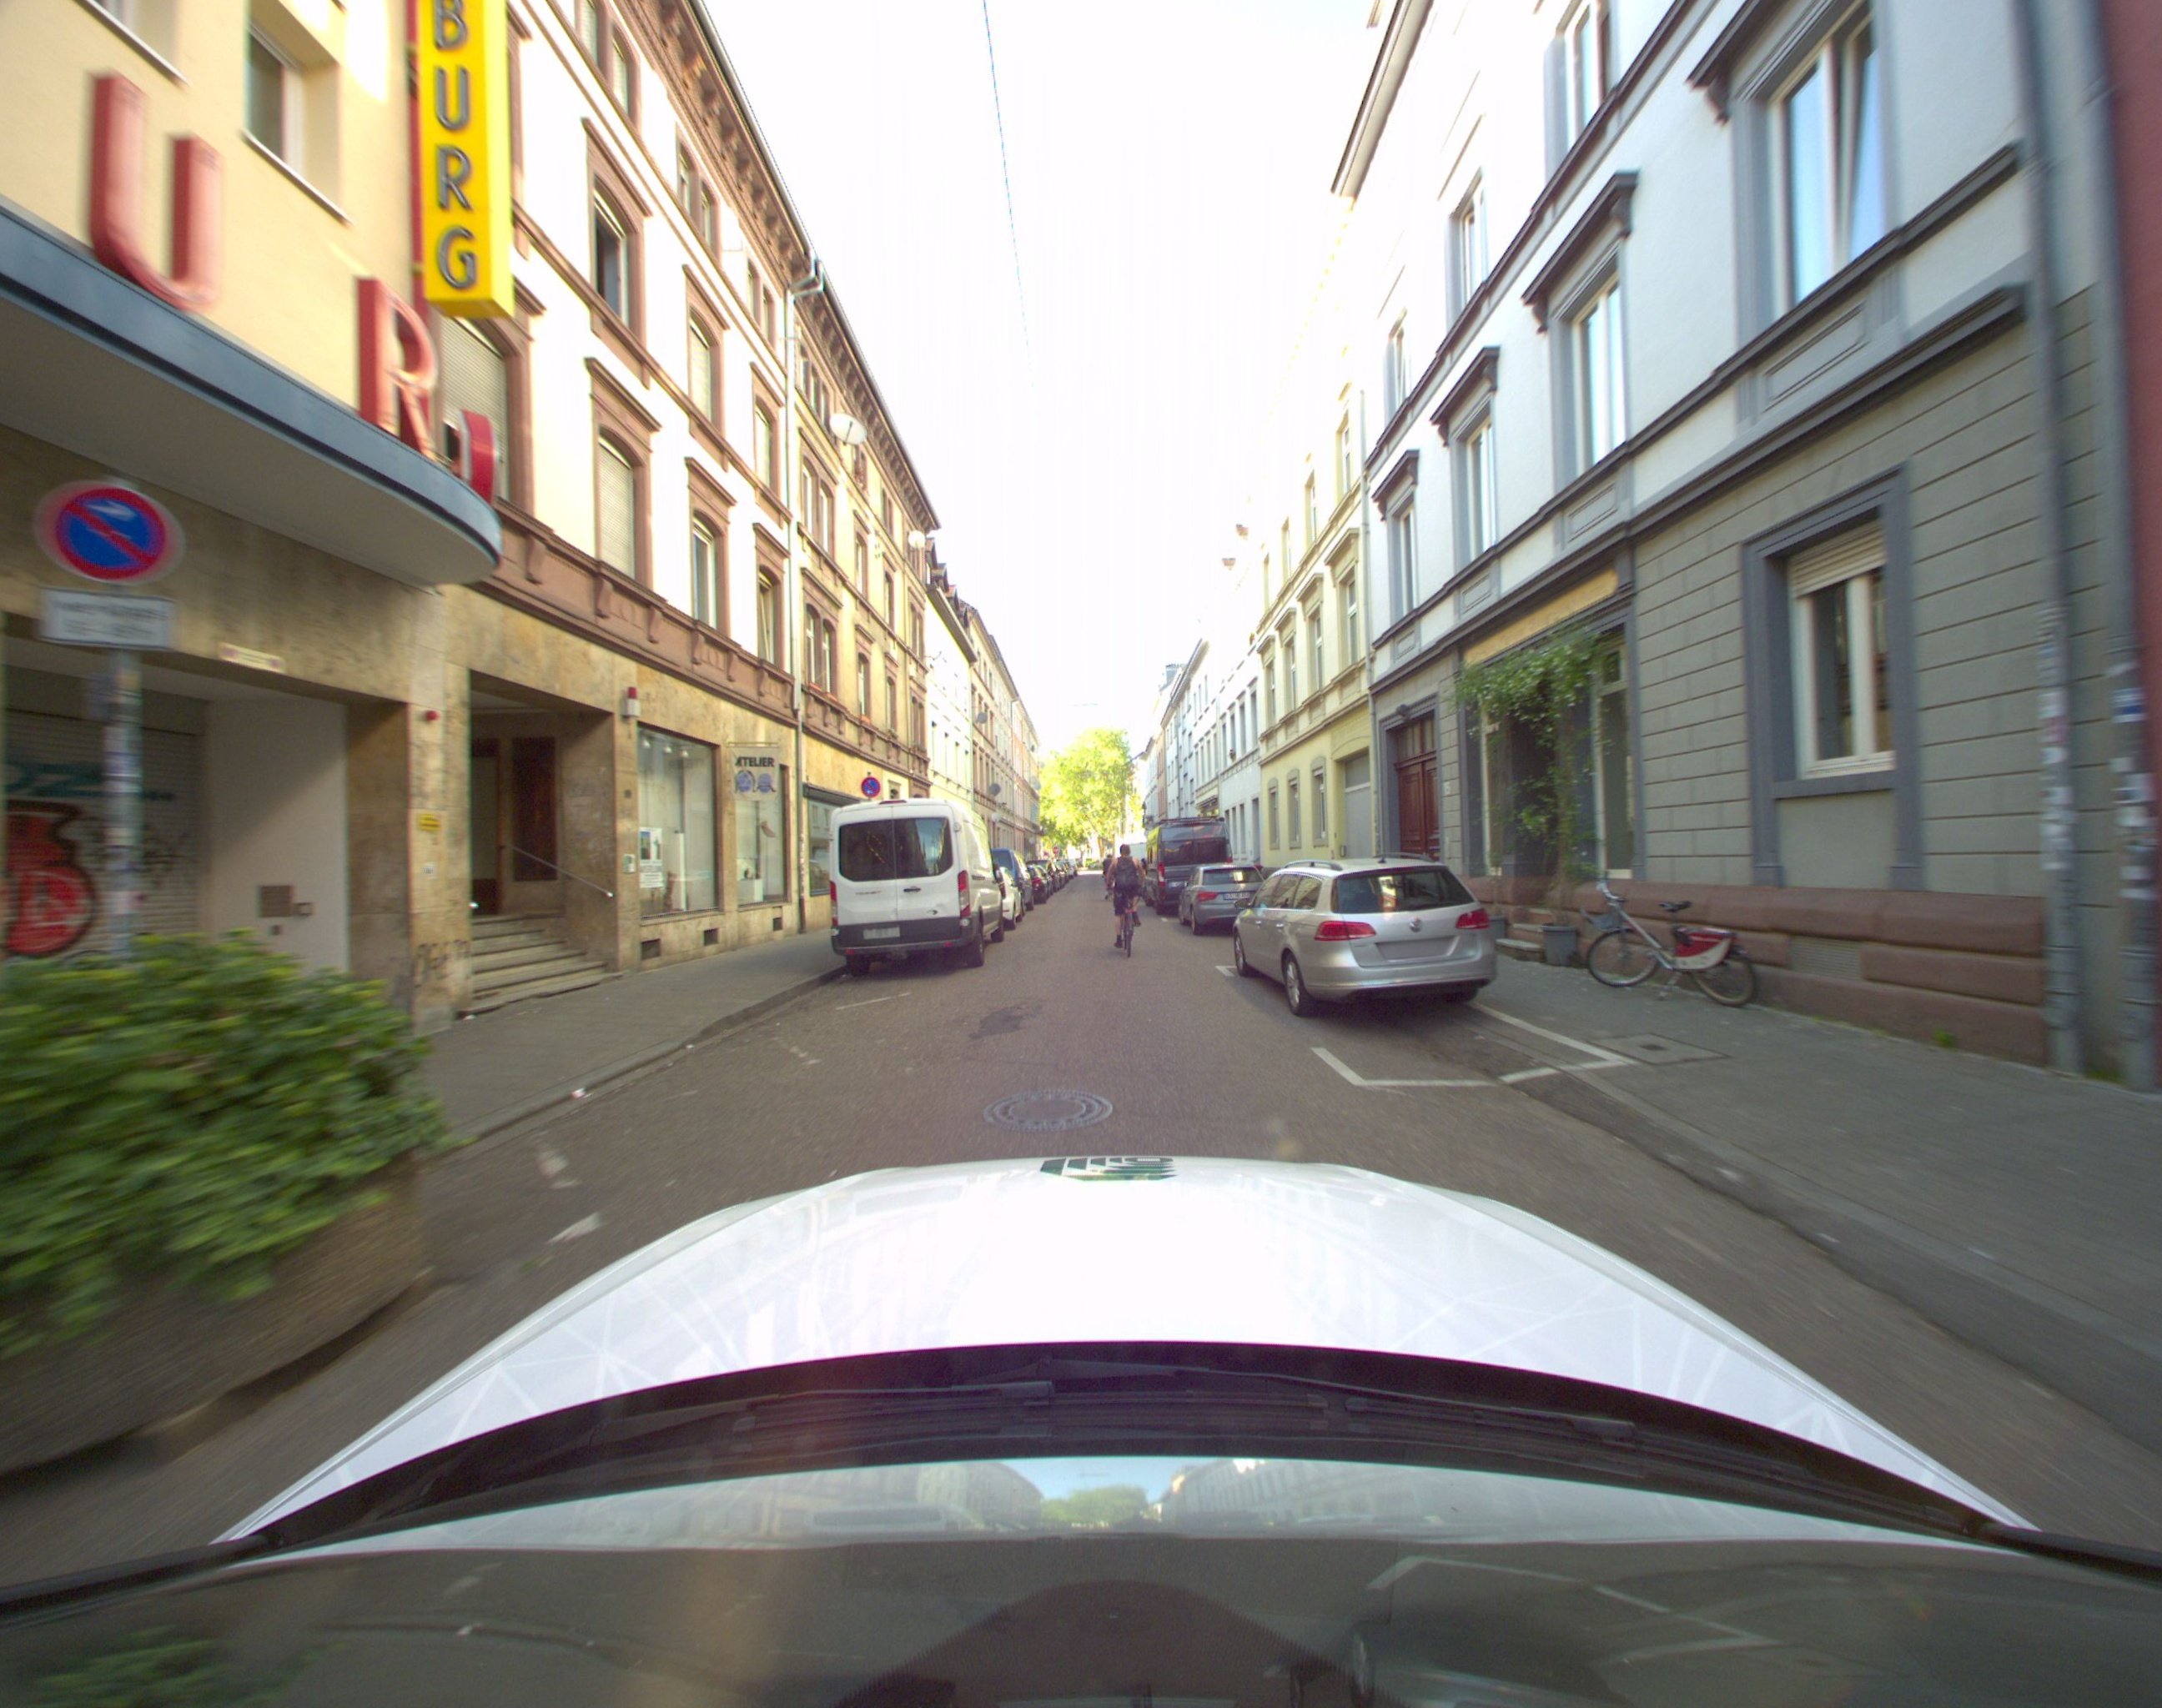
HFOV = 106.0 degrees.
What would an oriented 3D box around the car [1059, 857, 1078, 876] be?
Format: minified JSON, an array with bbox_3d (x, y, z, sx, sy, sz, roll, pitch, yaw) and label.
[{"bbox_3d":[-1.257,1.255,82.068,1.782,1.737,3.876,-2,0,0],"label":"car"}]

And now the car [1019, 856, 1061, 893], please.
[{"bbox_3d":[-2.103,1.043,42.518,1.794,1.698,4.001,-4,-1,1],"label":"car"}]

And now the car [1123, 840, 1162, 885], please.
[{"bbox_3d":[3.770,0.505,50.880,2.195,2.551,6.040,-2,0,3],"label":"car"}]

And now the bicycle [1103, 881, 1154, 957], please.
[{"bbox_3d":[0.752,1.026,13.450,0.737,1.100,2.042,0,0,1],"label":"bicycle"}]

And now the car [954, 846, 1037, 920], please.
[{"bbox_3d":[-2.478,0.815,24.805,1.821,1.892,4.614,-4,0,1],"label":"car"}]

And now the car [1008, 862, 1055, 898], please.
[{"bbox_3d":[-2.181,1.134,36.557,1.730,1.427,4.001,-2,0,1],"label":"car"}]

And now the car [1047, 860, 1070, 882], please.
[{"bbox_3d":[-1.688,1.278,62.490,1.600,1.530,3.377,-3,0,-1],"label":"car"}]

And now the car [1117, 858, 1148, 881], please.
[{"bbox_3d":[3.603,1.075,57.406,1.726,1.470,4.018,-2,0,-2],"label":"car"}]

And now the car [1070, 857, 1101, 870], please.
[{"bbox_3d":[0.601,1.383,121.239,4.460,1.759,1.864,-2,-1,-4],"label":"car"}]

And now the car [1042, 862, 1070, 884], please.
[{"bbox_3d":[-1.718,1.298,57.530,1.700,1.414,4.302,-2,0,1],"label":"car"}]

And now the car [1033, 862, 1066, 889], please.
[{"bbox_3d":[-1.817,1.235,47.493,1.586,1.440,3.655,-2,0,2],"label":"car"}]

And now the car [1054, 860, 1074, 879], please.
[{"bbox_3d":[-1.482,1.308,69.865,1.540,1.550,3.462,-2,0,-2],"label":"car"}]

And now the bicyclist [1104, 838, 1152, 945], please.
[{"bbox_3d":[0.757,0.590,13.355,0.737,1.679,1.116,0,-1,0],"label":"bicyclist"}]

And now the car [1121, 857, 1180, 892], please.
[{"bbox_3d":[3.349,0.965,40.381,1.811,1.478,4.594,-5,0,-8],"label":"car"}]

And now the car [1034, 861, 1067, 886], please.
[{"bbox_3d":[-1.927,1.223,52.472,1.667,1.430,3.891,-2,0,3],"label":"car"}]

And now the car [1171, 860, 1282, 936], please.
[{"bbox_3d":[3.083,0.870,18.044,1.741,1.444,4.172,-1,0,1],"label":"car"}]

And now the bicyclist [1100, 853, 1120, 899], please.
[{"bbox_3d":[1.063,0.810,30.285,0.667,1.658,0.877,-2,-1,1],"label":"bicyclist"}]

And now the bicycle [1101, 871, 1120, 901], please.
[{"bbox_3d":[1.087,1.166,30.387,0.662,1.037,1.959,-2,0,1],"label":"bicycle"}]

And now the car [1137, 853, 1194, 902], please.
[{"bbox_3d":[3.115,0.837,30.848,1.688,1.608,4.375,-4,0,1],"label":"car"}]

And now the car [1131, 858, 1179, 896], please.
[{"bbox_3d":[3.179,0.950,35.598,1.740,1.485,4.243,-2,0,1],"label":"car"}]

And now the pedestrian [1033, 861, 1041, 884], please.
[{"bbox_3d":[-3.630,1.503,66.950,0.608,1.858,0.754,0,-1,0],"label":"pedestrian"}]

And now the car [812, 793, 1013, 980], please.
[{"bbox_3d":[-2.563,0.461,14.158,2.161,2.452,5.920,-3,0,0],"label":"car"}]

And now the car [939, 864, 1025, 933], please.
[{"bbox_3d":[-2.349,1.019,20.206,1.640,1.447,3.838,-2,0,-1],"label":"car"}]

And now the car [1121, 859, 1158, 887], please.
[{"bbox_3d":[3.243,1.023,45.434,1.720,1.429,3.831,-2,0,0],"label":"car"}]

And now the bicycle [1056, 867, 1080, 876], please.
[{"bbox_3d":[-1.471,1.943,91.442,2.708,0.892,0.618,-2,-1,-2],"label":"bicycle"}]

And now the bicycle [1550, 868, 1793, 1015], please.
[{"bbox_3d":[5.200,0.705,7.363,0.708,1.097,1.900,-4,-1,-1],"label":"bicycle"}]

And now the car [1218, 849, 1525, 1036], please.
[{"bbox_3d":[2.862,0.767,9.226,1.780,1.454,4.547,-5,0,0],"label":"car"}]

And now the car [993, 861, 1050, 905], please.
[{"bbox_3d":[-2.220,1.071,31.495,1.856,1.440,4.643,-2,0,-1],"label":"car"}]

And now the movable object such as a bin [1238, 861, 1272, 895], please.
[{"bbox_3d":[5.676,0.782,26.614,0.860,1.042,0.707,-5,0,-1],"label":"movable object such as a bin"}]

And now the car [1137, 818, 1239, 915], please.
[{"bbox_3d":[3.013,0.343,24.396,2.168,2.425,6.309,-3,0,1],"label":"car"}]
